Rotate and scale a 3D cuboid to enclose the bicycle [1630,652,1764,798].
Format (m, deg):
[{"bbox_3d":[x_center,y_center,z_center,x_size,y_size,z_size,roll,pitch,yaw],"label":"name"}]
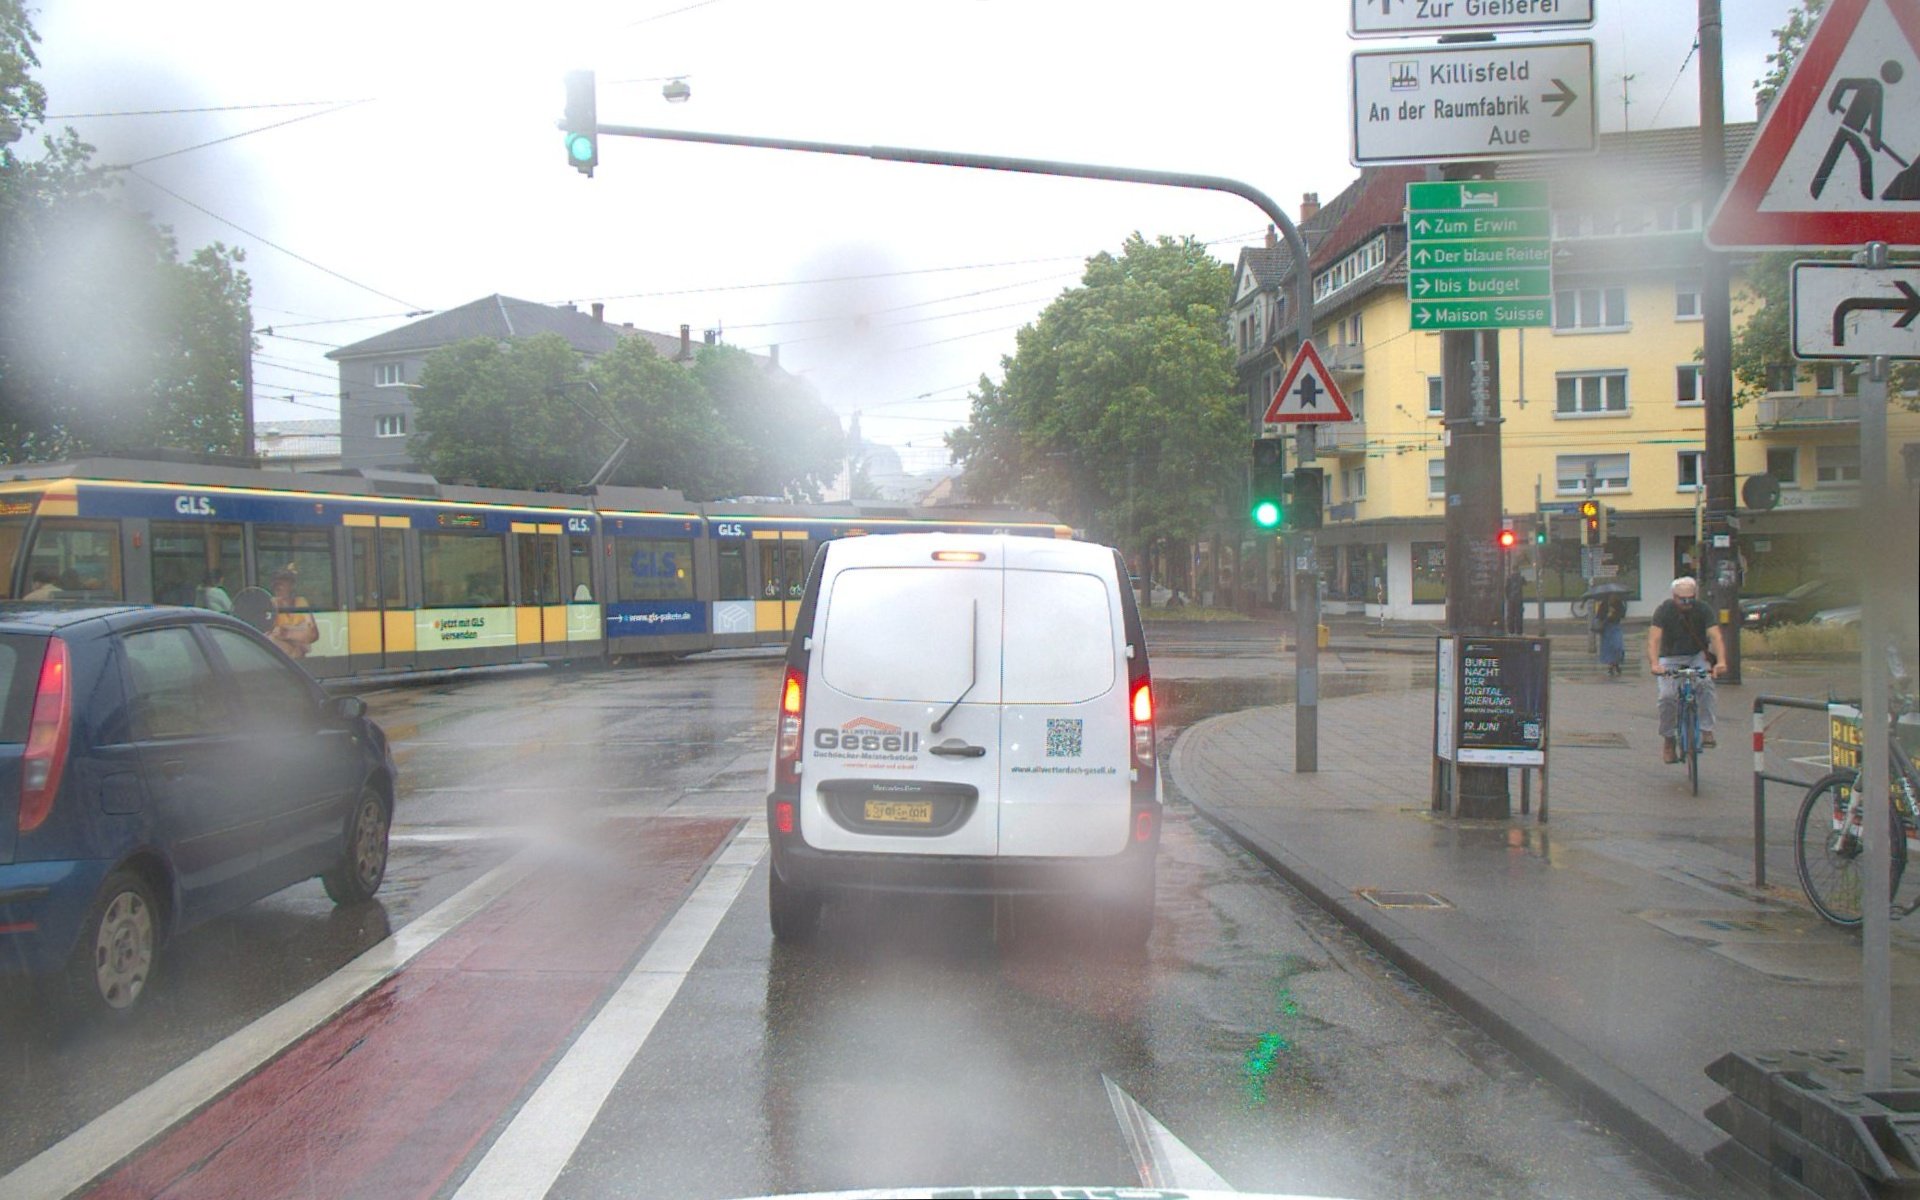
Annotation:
[{"bbox_3d":[6.162,1.008,13.916,0.449,1.045,1.903,0,1,5],"label":"bicycle"}]

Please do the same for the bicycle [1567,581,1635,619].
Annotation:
[{"bbox_3d":[21.545,-0.002,55.601,2.056,1.283,0.532,0,1,14],"label":"bicycle"}]

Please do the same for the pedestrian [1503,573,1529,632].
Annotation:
[{"bbox_3d":[14.684,0.068,43.660,0.608,1.526,0.552,0,0,22],"label":"pedestrian"}]

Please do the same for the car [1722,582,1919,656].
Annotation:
[{"bbox_3d":[20.855,0.456,39.084,4.832,1.672,2.001,0,-2,11],"label":"car"}]

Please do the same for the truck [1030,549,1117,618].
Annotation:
[{"bbox_3d":[8.850,-1.235,131.609,3.406,5.176,15.272,0,0,-9],"label":"truck"}]

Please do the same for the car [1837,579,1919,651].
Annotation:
[{"bbox_3d":[21.257,0.312,35.642,3.854,1.516,1.808,0,1,15],"label":"car"}]

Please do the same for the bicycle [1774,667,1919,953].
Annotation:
[{"bbox_3d":[4.251,0.909,7.090,0.503,1.126,2.017,3,0,1],"label":"bicycle"}]

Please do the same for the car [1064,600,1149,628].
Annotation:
[{"bbox_3d":[6.251,0.610,70.792,3.378,1.150,1.469,0,0,-9],"label":"car"}]

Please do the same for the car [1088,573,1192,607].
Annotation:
[{"bbox_3d":[7.508,-0.425,69.076,4.088,1.362,1.518,0,1,-8],"label":"car"}]

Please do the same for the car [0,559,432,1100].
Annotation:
[{"bbox_3d":[-3.609,0.673,6.803,1.692,1.606,3.820,0,0,-1],"label":"car"}]

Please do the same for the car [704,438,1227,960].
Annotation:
[{"bbox_3d":[-0.013,0.394,9.006,2.058,2.047,4.962,0,0,-1],"label":"car"}]

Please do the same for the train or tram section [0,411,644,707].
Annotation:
[{"bbox_3d":[-10.345,-0.487,26.984,3.441,3.574,13.659,1,0,21],"label":"train or tram section"}]

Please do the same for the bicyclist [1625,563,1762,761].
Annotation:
[{"bbox_3d":[6.171,0.506,13.963,0.859,1.611,0.861,0,0,9],"label":"bicyclist"}]

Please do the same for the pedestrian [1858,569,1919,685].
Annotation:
[{"bbox_3d":[14.051,0.392,24.891,0.886,1.698,1.019,0,0,25],"label":"pedestrian"}]

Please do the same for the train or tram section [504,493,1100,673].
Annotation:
[{"bbox_3d":[-2.905,-0.245,38.732,3.492,3.472,15.399,1,0,43],"label":"train or tram section"}]

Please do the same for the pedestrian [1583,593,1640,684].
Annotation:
[{"bbox_3d":[11.336,0.660,28.797,0.809,1.561,0.614,1,0,-39],"label":"pedestrian"}]
